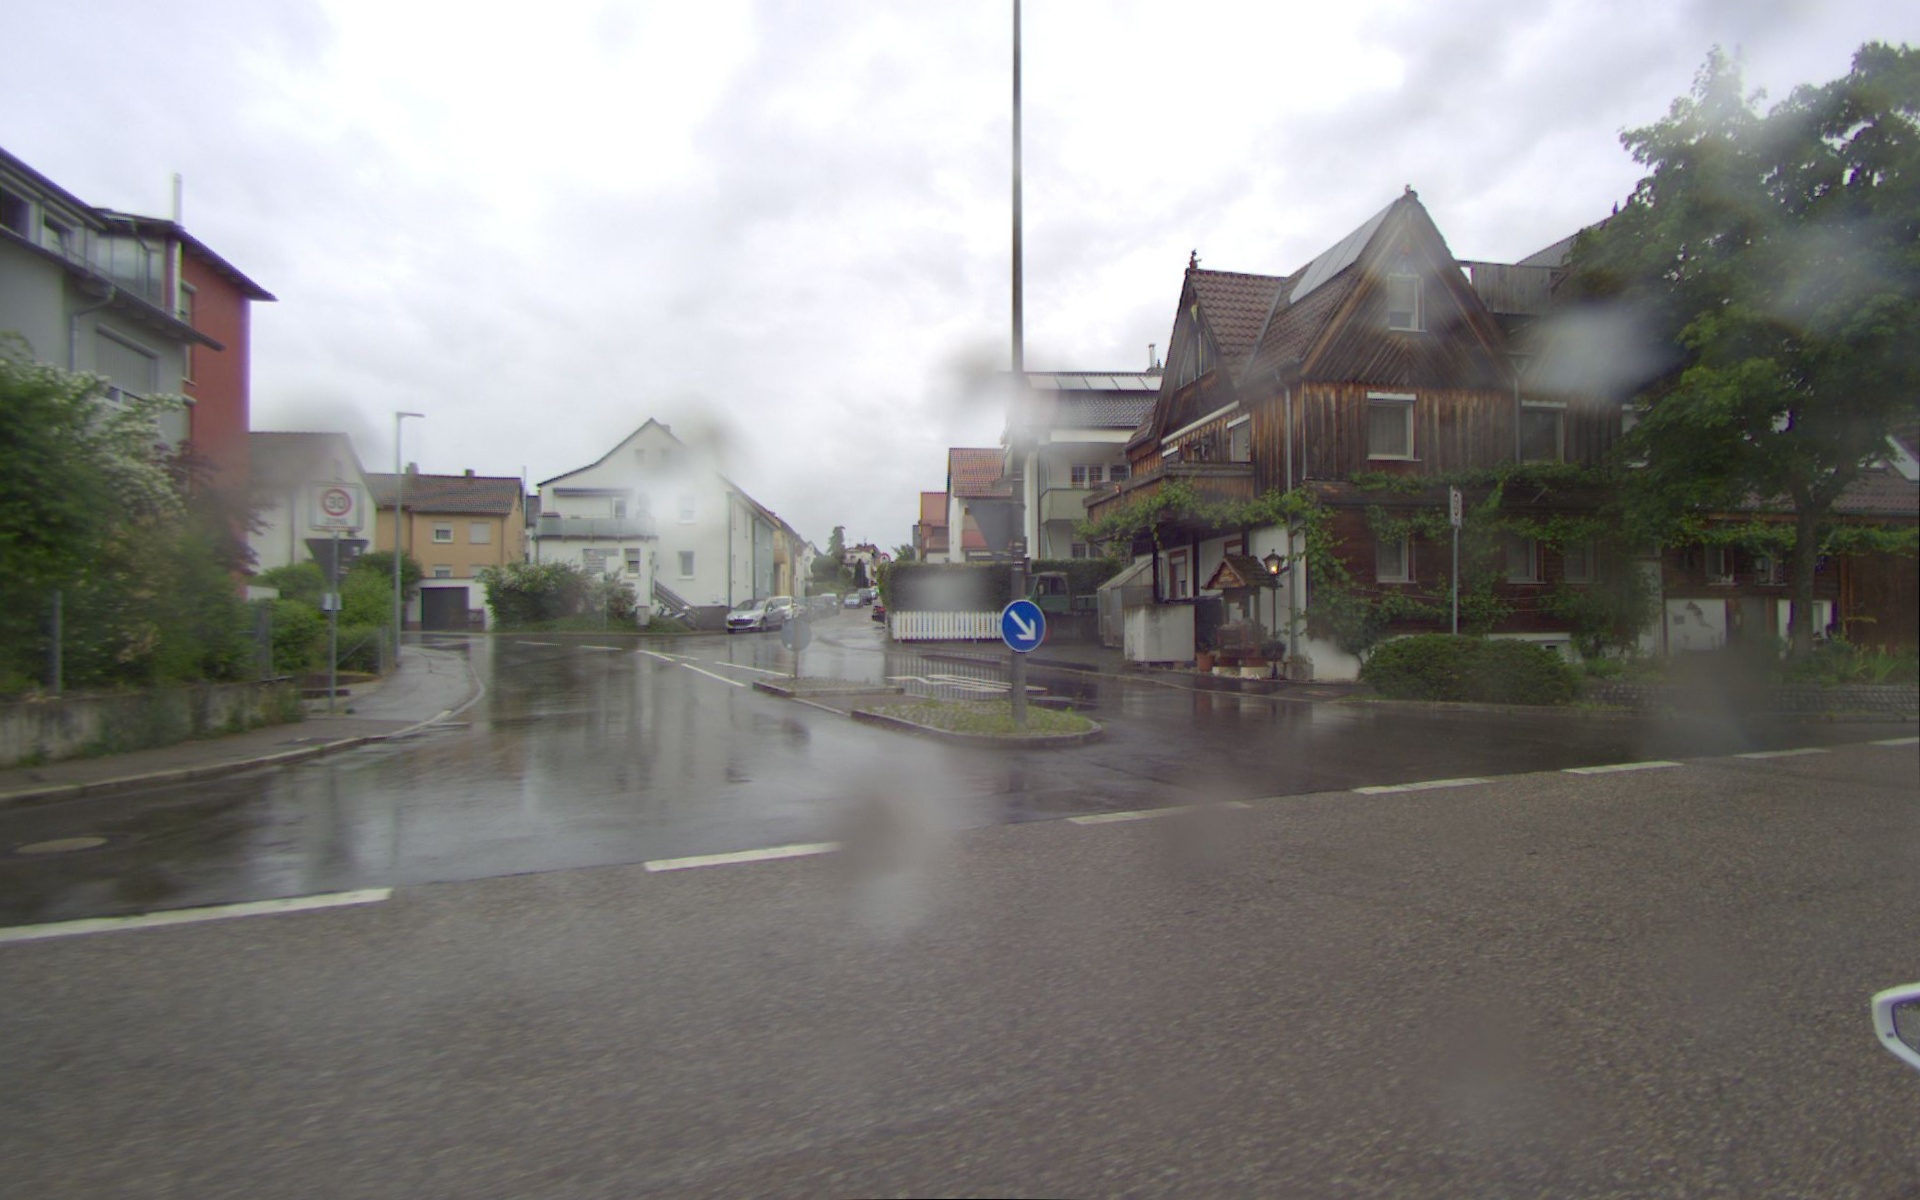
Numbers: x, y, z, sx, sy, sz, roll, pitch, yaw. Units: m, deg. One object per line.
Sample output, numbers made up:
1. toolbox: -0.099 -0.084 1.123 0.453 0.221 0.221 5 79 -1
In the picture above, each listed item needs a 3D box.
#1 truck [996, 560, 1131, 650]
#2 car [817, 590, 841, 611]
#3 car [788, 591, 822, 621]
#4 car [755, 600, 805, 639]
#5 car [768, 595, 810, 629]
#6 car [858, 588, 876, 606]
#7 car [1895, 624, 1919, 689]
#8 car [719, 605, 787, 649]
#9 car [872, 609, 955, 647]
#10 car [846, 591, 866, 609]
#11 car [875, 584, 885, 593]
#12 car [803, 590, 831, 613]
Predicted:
1. truck: 3.172 0.197 31.042 3.779 2.647 1.777 1 -2 -14
2. car: -11.179 0.041 85.688 1.759 1.614 3.489 0 3 -3
3. car: -10.206 0.343 66.410 1.735 1.759 3.612 -1 3 -2
4. car: -9.389 0.962 52.705 1.961 1.759 3.998 -1 3 -2
5. car: -9.910 0.652 58.471 1.837 1.759 3.838 -1 3 -2
6. car: -10.996 -0.371 119.171 1.864 1.853 3.998 0 3 -2
7. car: 22.199 1.206 21.088 1.604 1.437 3.449 0 -2 -13
8. car: -9.681 1.232 47.313 1.959 1.759 4.001 0 3 7
9. car: -2.231 1.394 49.327 3.920 1.861 2.001 0 -2 2
10. car: -11.133 -0.021 107.419 1.809 1.747 3.999 0 2 -1
11. car: -14.776 -2.130 185.599 1.708 1.622 3.749 0 2 -3
12. car: -10.486 0.112 73.948 1.689 1.516 3.348 0 2 -3
